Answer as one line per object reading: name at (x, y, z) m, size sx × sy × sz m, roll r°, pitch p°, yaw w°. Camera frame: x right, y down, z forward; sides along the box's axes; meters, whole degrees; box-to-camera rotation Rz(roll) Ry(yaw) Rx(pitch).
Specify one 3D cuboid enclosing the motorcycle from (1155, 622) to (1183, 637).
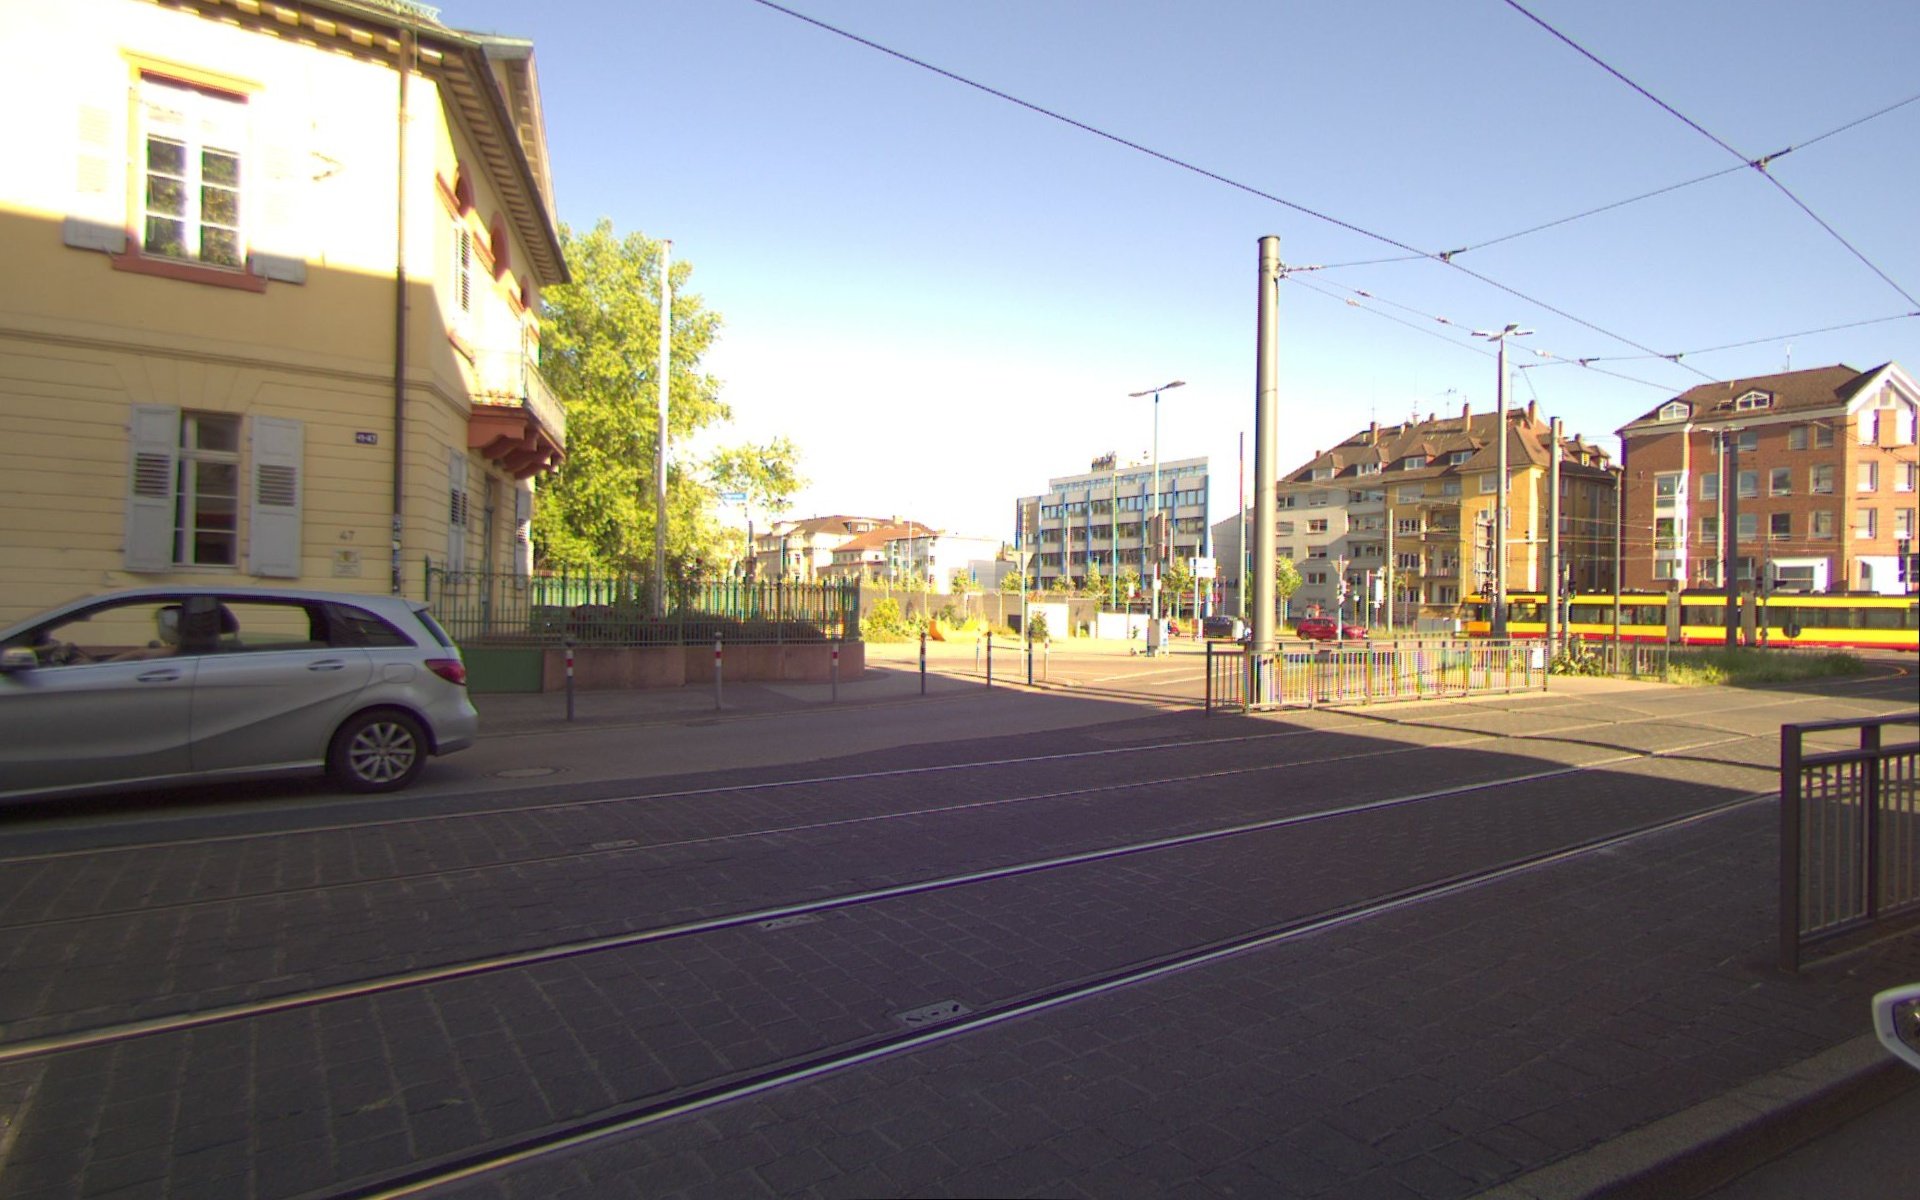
motorcycle at (14.557, 2.075, 69.888) m, size 0.556 × 0.905 × 1.982 m, roll 1°, pitch 2°, yaw -39°

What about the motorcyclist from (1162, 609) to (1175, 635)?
motorcyclist at (14.526, 1.526, 69.934) m, size 0.385 × 1.731 × 0.775 m, roll 1°, pitch 2°, yaw -39°

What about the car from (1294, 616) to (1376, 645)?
car at (22.284, 1.784, 59.769) m, size 1.923 × 1.510 × 4.110 m, roll 1°, pitch 1°, yaw -40°

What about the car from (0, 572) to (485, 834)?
car at (-5.922, 0.642, 7.207) m, size 4.257 × 1.589 × 1.767 m, roll 1°, pitch -1°, yaw -40°

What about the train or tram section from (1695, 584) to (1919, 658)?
train or tram section at (52.431, 1.260, 58.570) m, size 15.085 × 3.768 × 2.644 m, roll 3°, pitch 1°, yaw 21°

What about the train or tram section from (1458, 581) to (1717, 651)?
train or tram section at (40.561, 0.909, 65.722) m, size 13.988 × 3.765 × 2.668 m, roll 3°, pitch 2°, yaw 43°

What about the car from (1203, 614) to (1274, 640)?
car at (18.275, 1.753, 66.048) m, size 1.923 × 1.510 × 4.110 m, roll 1°, pitch 1°, yaw -40°
